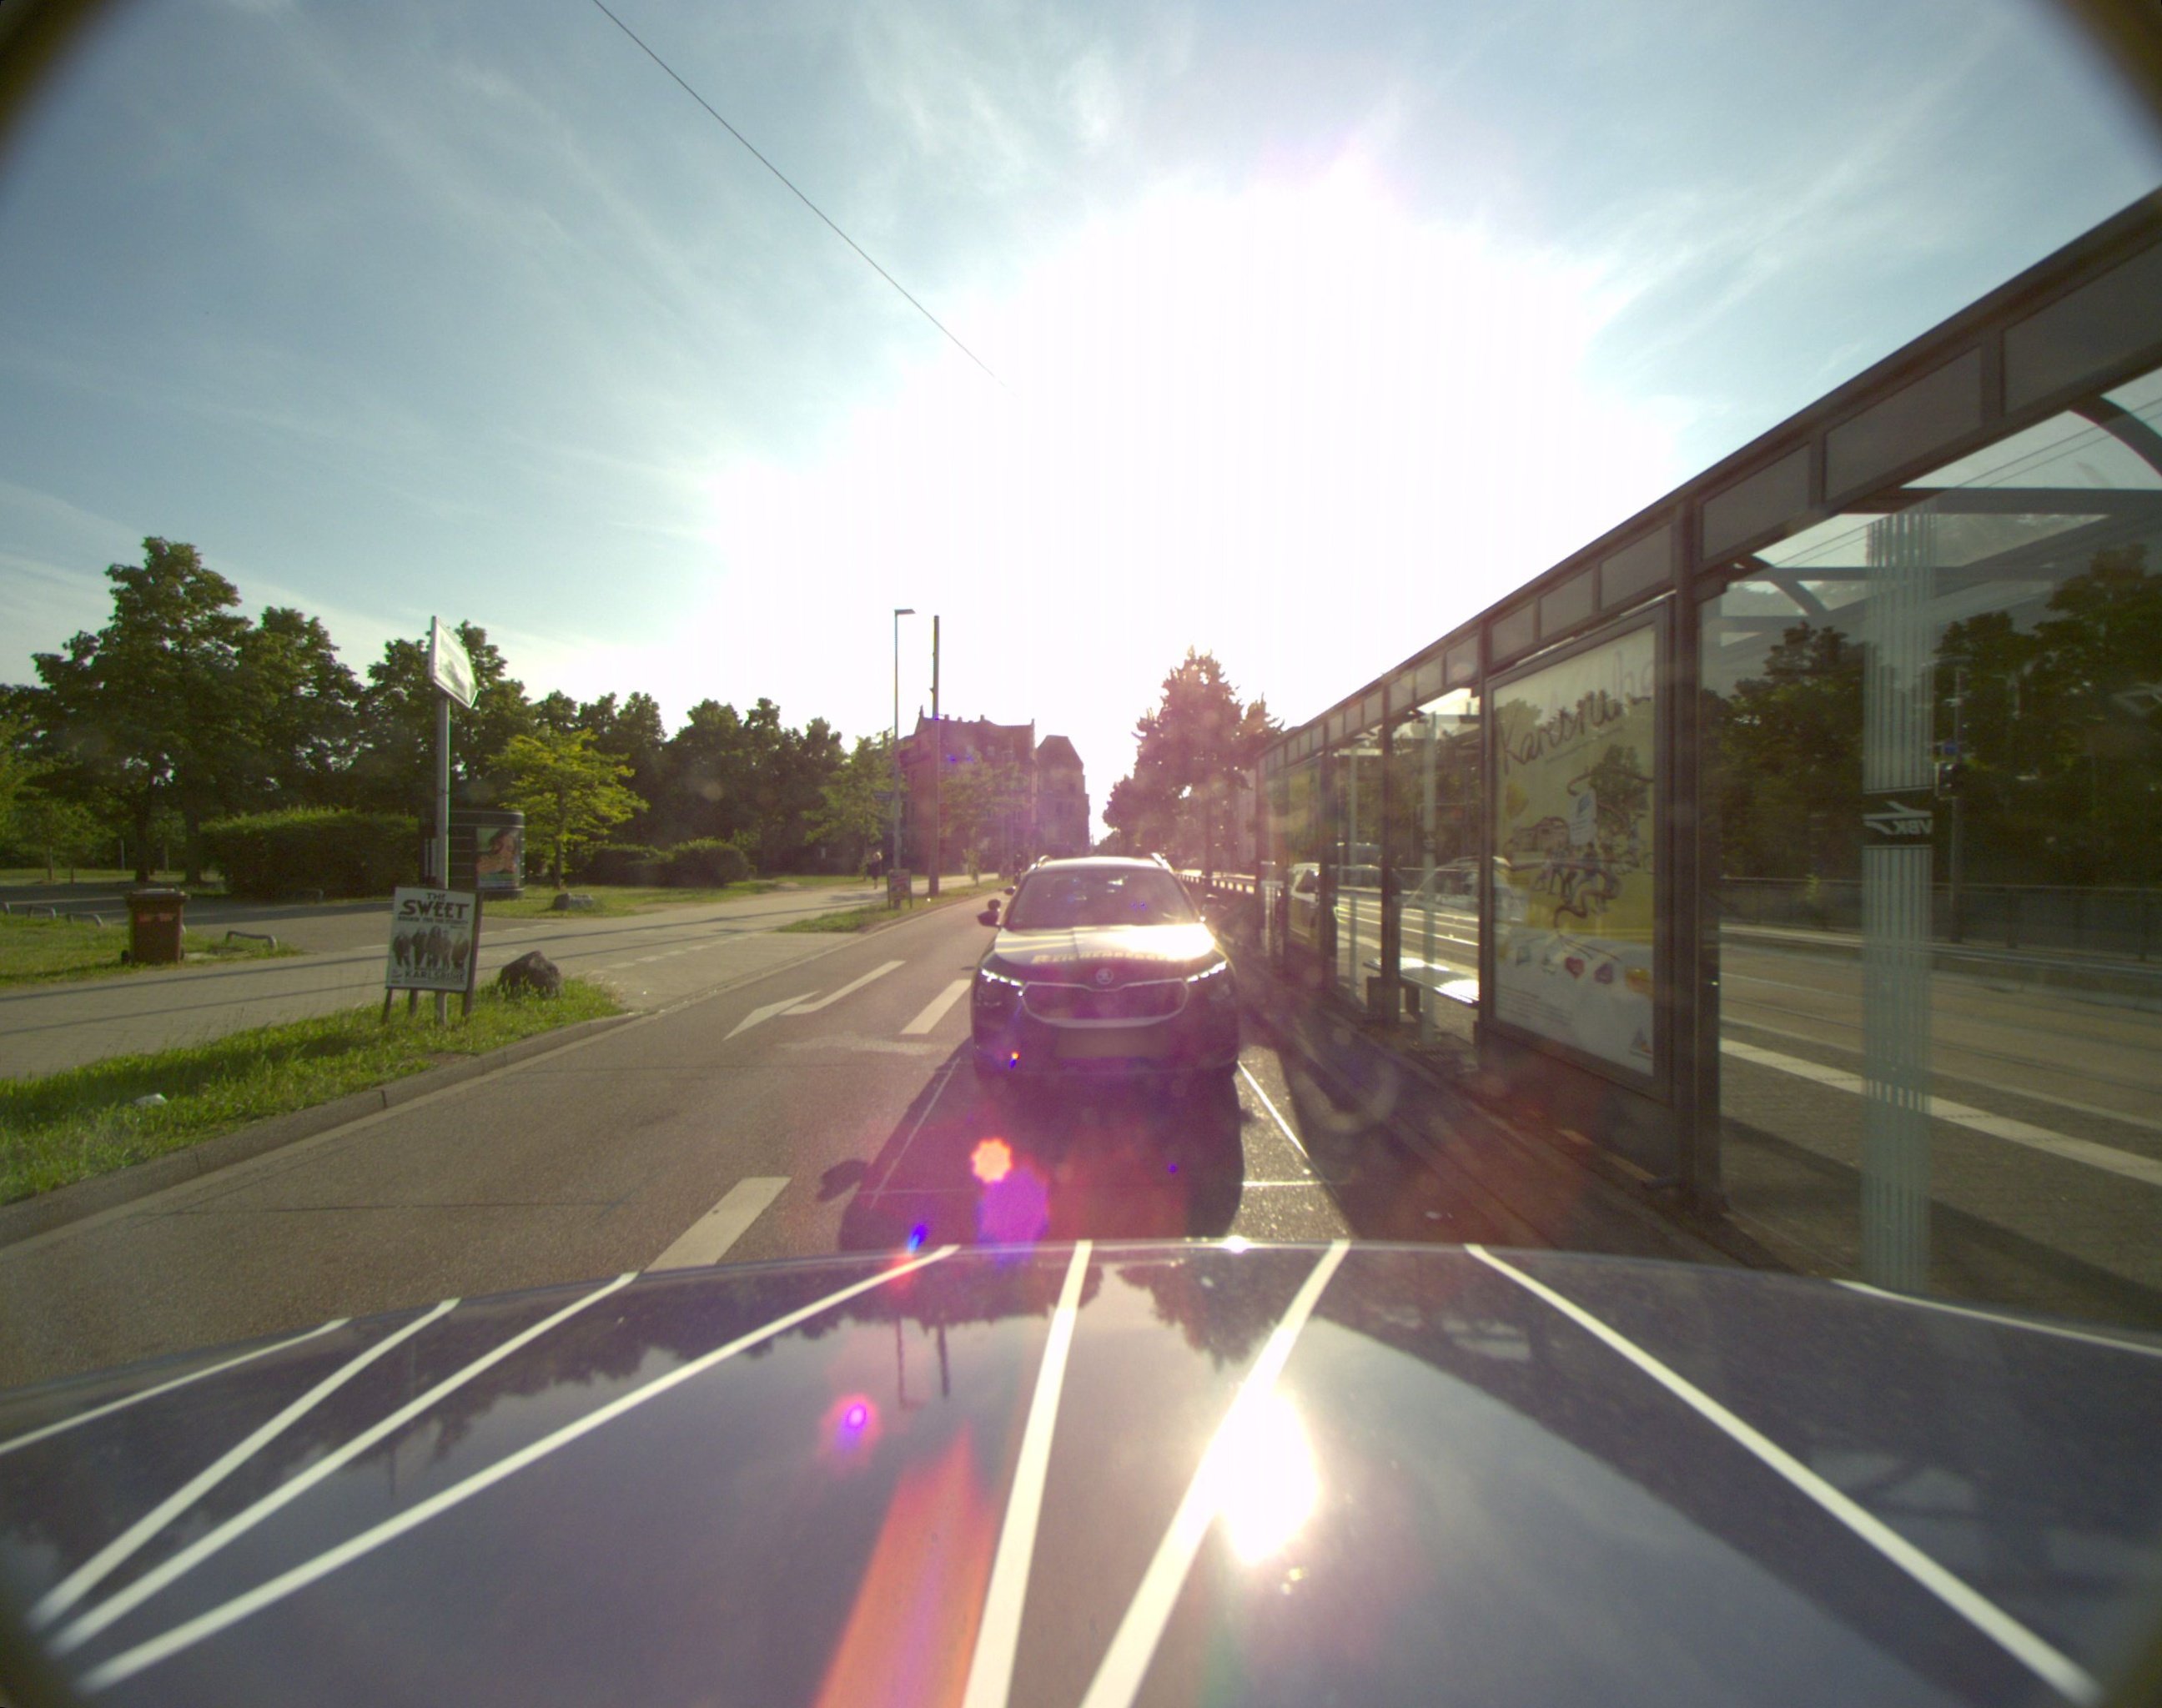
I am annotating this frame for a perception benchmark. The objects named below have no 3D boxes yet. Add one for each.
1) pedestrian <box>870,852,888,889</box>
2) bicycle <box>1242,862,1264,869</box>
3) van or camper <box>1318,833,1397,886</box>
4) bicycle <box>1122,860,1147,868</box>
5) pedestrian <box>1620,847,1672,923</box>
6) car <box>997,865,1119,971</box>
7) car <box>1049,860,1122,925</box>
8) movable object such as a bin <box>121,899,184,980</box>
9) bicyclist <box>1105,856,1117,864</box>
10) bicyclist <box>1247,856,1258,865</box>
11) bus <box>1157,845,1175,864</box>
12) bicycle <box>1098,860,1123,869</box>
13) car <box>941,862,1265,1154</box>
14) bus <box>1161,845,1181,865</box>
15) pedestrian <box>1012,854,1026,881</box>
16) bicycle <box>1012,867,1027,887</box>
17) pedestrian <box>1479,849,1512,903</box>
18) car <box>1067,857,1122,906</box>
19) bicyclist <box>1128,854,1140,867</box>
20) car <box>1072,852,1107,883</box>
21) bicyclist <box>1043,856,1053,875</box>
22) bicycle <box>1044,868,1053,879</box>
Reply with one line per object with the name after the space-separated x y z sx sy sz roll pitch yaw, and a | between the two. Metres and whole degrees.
-9.318 0.761 35.009 0.621 1.675 0.618 -2 1 1 | pedestrian
20.867 1.372 92.243 2.536 0.876 0.631 0 0 5 | bicycle
16.838 0.258 46.697 2.527 2.951 6.411 -2 1 1 | van or camper
6.668 1.254 94.854 2.962 0.974 0.879 0 0 -2 | bicycle
12.878 0.687 17.340 0.621 1.675 0.618 3 1 1 | pedestrian
-0.298 0.975 13.283 1.756 1.451 4.235 -1 0 1 | car
0.144 0.976 20.949 1.756 1.534 4.235 -1 0 1 | car
-11.393 1.033 9.333 0.603 0.912 0.457 1 1 42 | movable object such as a bin
3.630 0.739 91.144 1.402 1.000 0.888 0 0 -1 | bicyclist
20.791 0.786 92.161 1.217 1.018 0.671 0 0 3 | bicyclist
16.087 0.087 144.399 2.437 3.415 9.261 -2 1 1 | bus
3.559 1.265 91.166 2.962 0.974 0.879 0 0 -2 | bicycle
0.155 0.876 6.320 1.756 1.534 4.235 -1 0 1 | car
15.928 0.088 135.135 2.437 3.415 9.261 -2 1 1 | bus
-3.450 0.748 42.383 0.637 1.512 0.845 -2 1 -1 | pedestrian
-3.421 1.264 42.190 0.652 1.040 1.980 -2 1 -1 | bicycle
13.228 0.682 24.240 0.621 1.675 0.618 3 1 1 | pedestrian
0.481 0.903 27.041 1.756 1.534 4.235 -1 0 1 | car
6.593 0.801 94.848 1.402 1.538 0.888 0 0 -1 | bicyclist
0.474 0.678 40.554 1.756 1.534 4.235 -1 0 1 | car
-2.584 0.900 59.740 0.689 1.445 1.111 0 0 0 | bicyclist
-2.565 1.515 59.841 0.567 0.789 2.041 0 0 0 | bicycle
